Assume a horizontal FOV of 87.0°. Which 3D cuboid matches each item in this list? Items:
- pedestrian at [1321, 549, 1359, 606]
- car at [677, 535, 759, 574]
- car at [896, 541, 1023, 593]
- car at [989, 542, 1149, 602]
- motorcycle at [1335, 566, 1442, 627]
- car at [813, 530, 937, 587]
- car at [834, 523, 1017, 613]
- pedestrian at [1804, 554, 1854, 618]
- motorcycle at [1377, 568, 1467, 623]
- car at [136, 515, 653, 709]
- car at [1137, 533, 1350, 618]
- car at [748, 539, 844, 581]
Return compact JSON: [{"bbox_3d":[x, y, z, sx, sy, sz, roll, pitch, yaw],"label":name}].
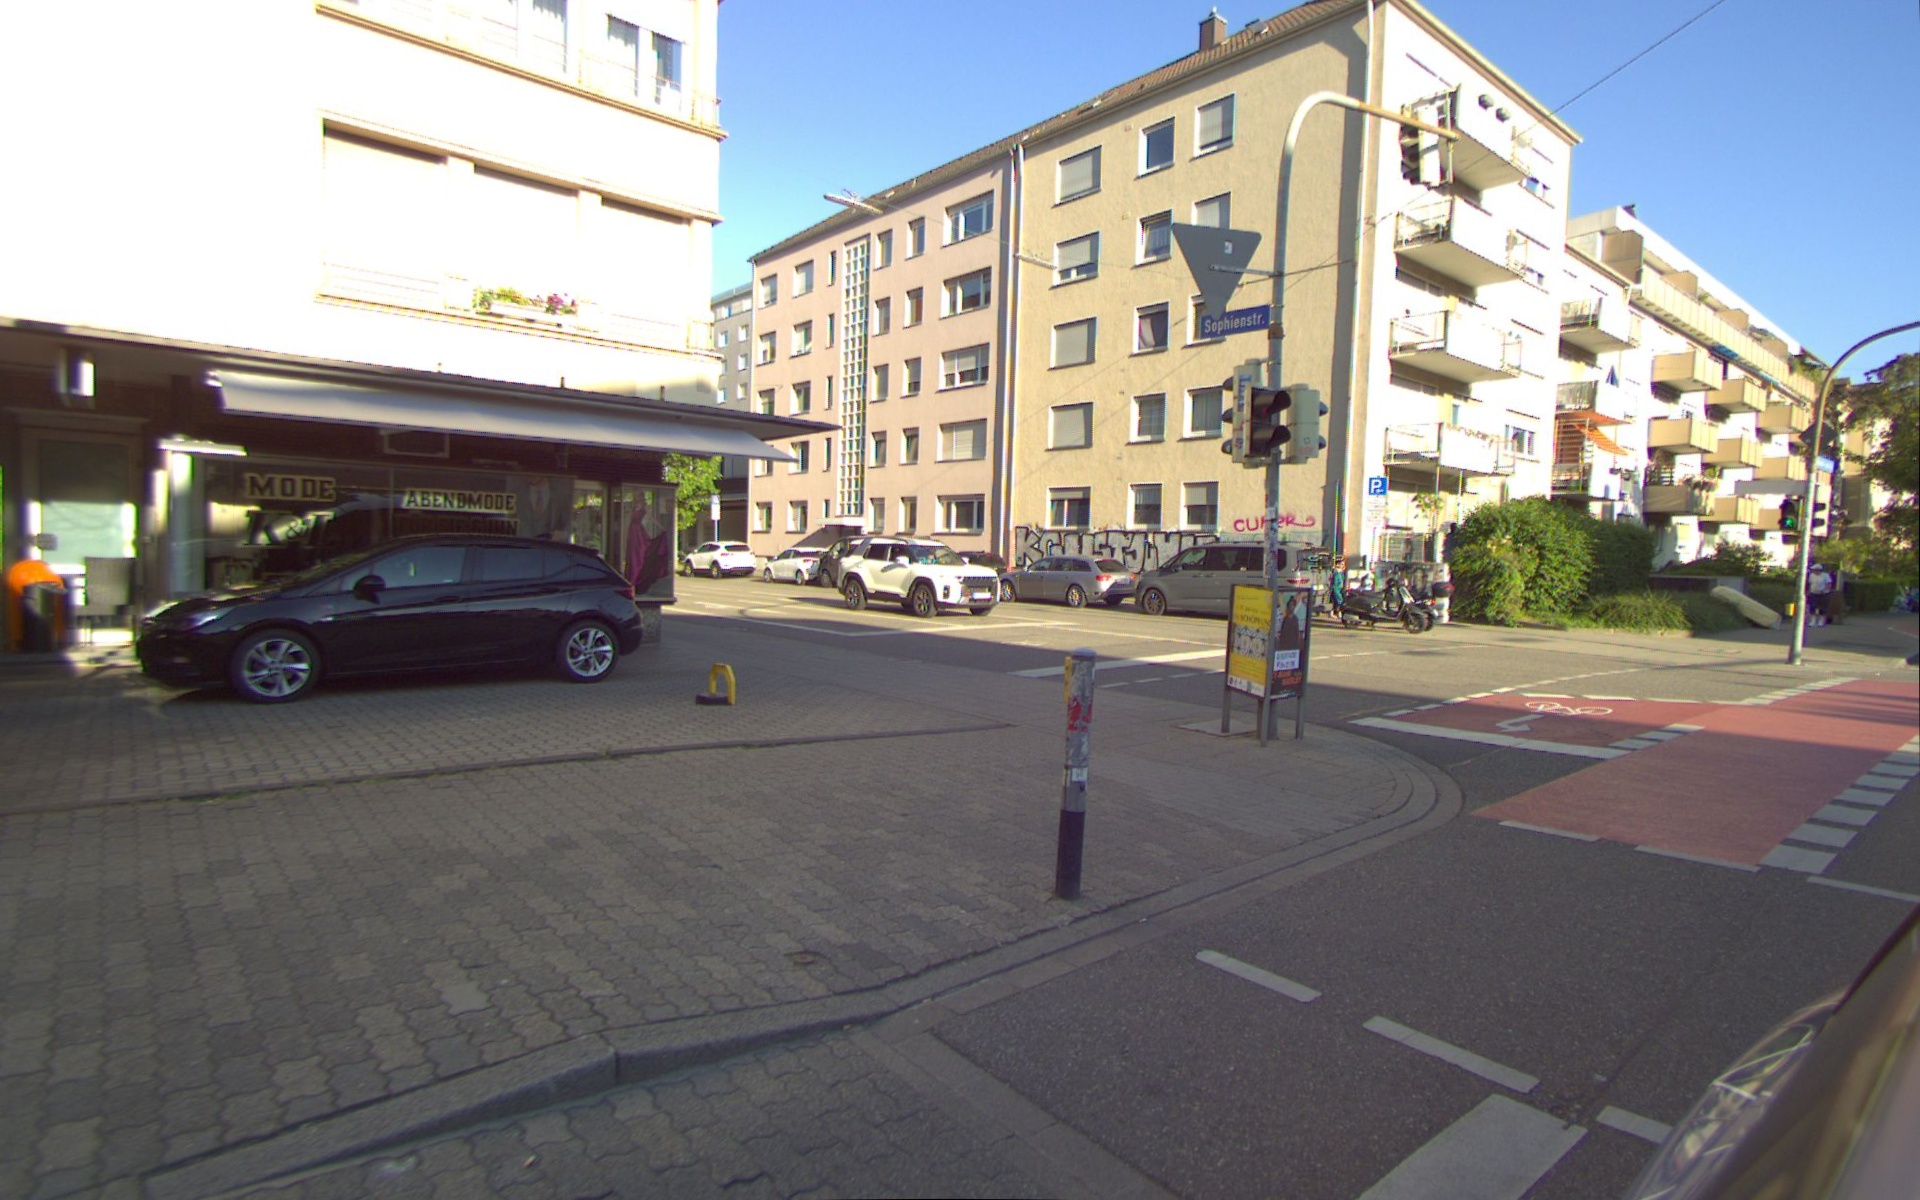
[{"bbox_3d":[9.454,-0.570,25.176,0.584,1.408,0.641,-1,3,-41],"label":"pedestrian"},{"bbox_3d":[-11.200,-2.112,46.663,1.919,1.680,4.350,-1,4,-41],"label":"car"},{"bbox_3d":[-0.086,-1.148,33.494,1.919,1.559,4.287,-3,5,-41],"label":"car"},{"bbox_3d":[3.131,-0.897,29.833,1.920,1.559,4.616,-3,5,-42],"label":"car"},{"bbox_3d":[9.189,-0.093,21.736,1.981,1.215,0.764,3,3,38],"label":"motorcycle"},{"bbox_3d":[-3.212,-1.563,37.150,1.919,1.930,5.072,-1,4,-41],"label":"car"},{"bbox_3d":[-0.884,-0.789,23.224,1.919,1.860,4.351,-1,4,-40],"label":"car"},{"bbox_3d":[23.930,-0.402,27.866,0.648,1.703,0.831,-1,4,-36],"label":"pedestrian"},{"bbox_3d":[10.135,-0.112,22.234,0.584,1.125,1.698,-1,3,-39],"label":"motorcycle"},{"bbox_3d":[-5.340,0.004,9.848,4.130,1.502,1.832,-1,4,-40],"label":"car"},{"bbox_3d":[6.912,-0.716,25.136,1.920,1.888,4.837,-3,5,-42],"label":"car"},{"bbox_3d":[-6.765,-1.678,41.446,1.919,1.559,4.287,-3,5,-41],"label":"car"}]
